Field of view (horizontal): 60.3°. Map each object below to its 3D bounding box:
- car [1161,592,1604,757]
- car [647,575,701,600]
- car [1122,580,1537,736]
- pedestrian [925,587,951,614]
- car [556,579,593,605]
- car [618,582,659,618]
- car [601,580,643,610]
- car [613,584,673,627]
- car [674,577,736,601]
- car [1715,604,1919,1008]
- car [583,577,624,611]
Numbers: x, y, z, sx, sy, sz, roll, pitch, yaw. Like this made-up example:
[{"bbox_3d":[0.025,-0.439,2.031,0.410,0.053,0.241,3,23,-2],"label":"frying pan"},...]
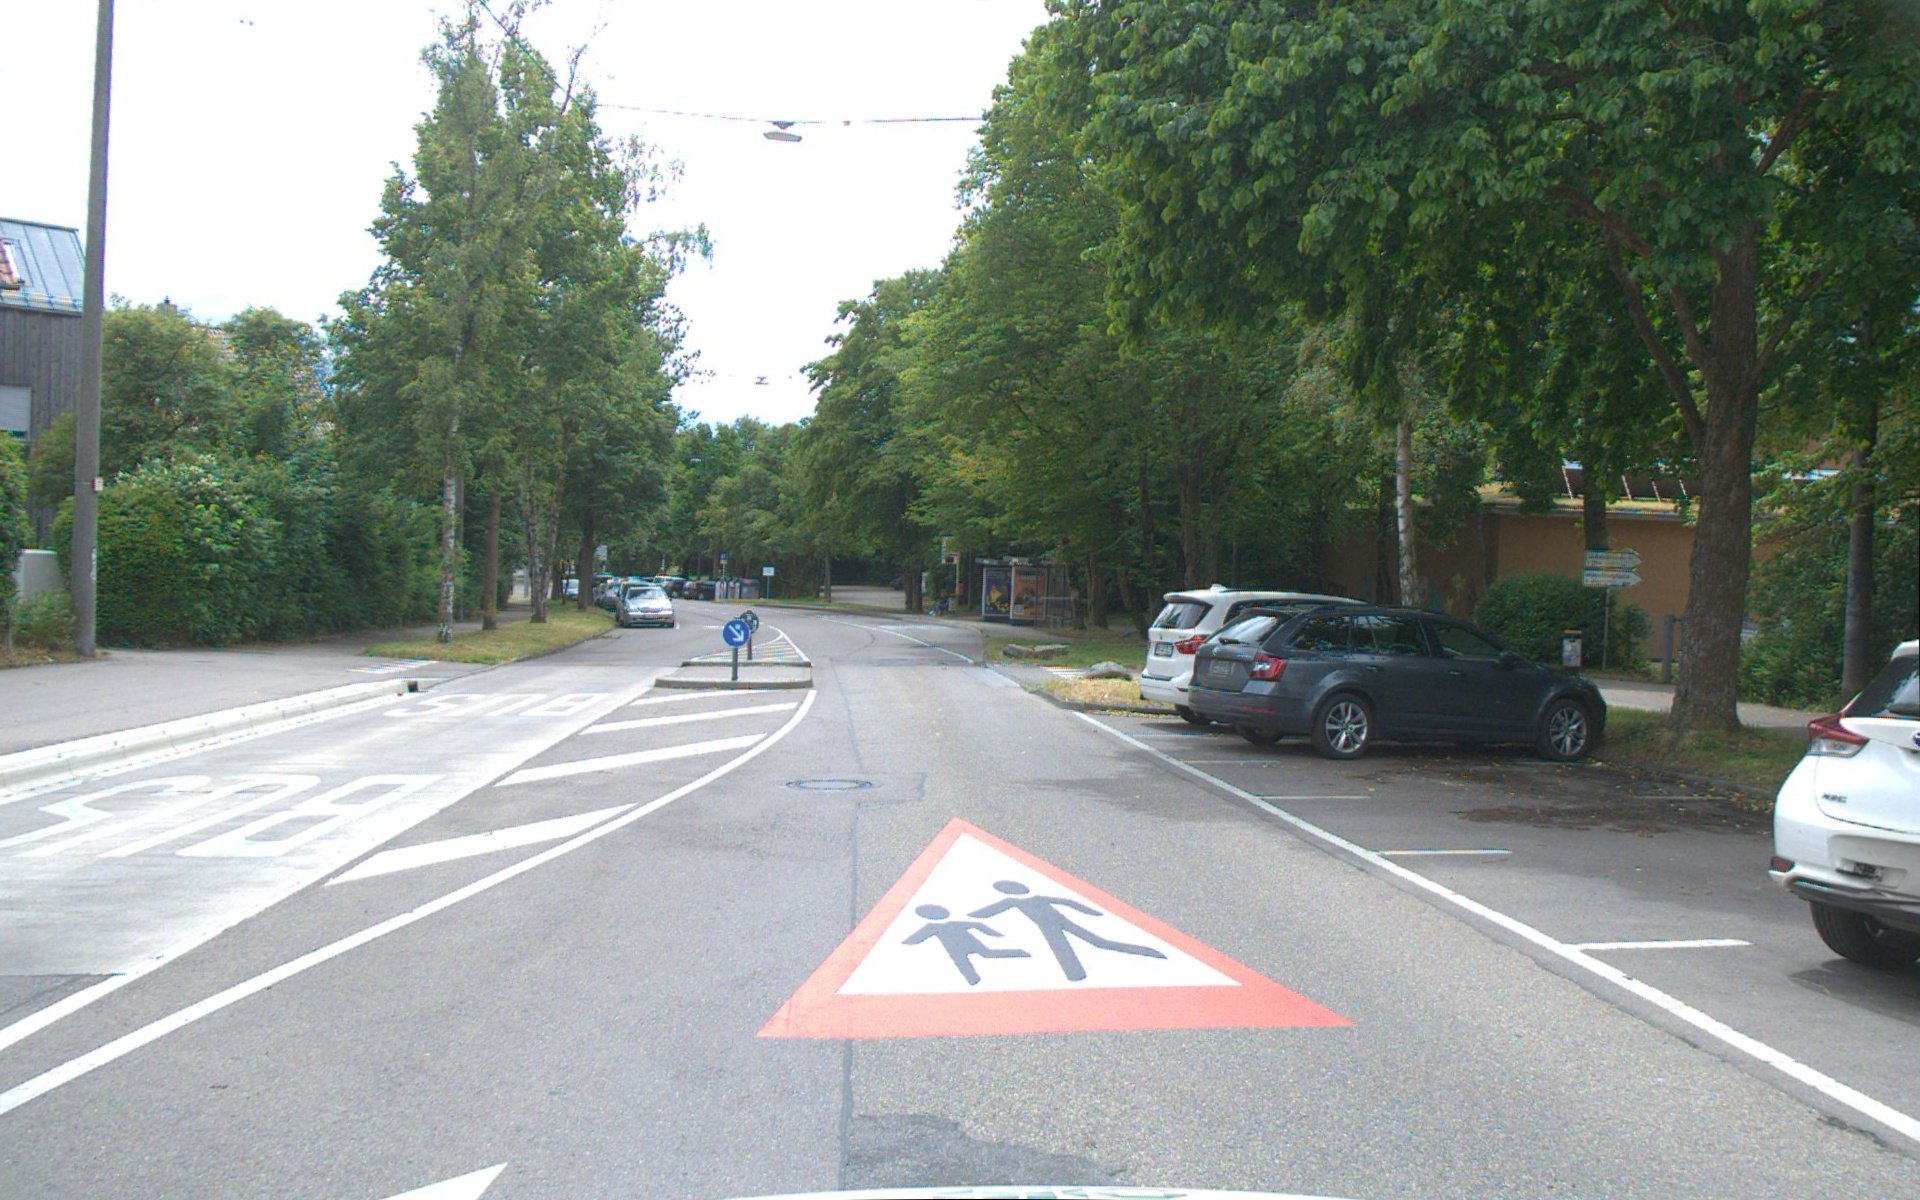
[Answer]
[{"bbox_3d":[4.301,0.752,16.905,4.071,1.489,1.788,2,0,-20],"label":"car"},{"bbox_3d":[-22.547,-1.017,130.577,3.801,1.750,1.848,4,-2,-44],"label":"car"},{"bbox_3d":[4.327,0.673,19.598,4.392,1.613,1.900,2,0,-14],"label":"car"},{"bbox_3d":[-0.978,0.038,74.260,1.046,1.203,0.577,0,0,-16],"label":"pedestrian"},{"bbox_3d":[-26.215,-0.556,112.428,1.780,1.590,4.238,-3,2,-22],"label":"car"},{"bbox_3d":[-14.889,-0.015,76.400,1.706,1.606,4.127,-1,1,-13],"label":"car"},{"bbox_3d":[-17.903,-0.289,87.410,1.836,1.565,4.208,0,1,-16],"label":"car"},{"bbox_3d":[-11.324,0.157,58.891,1.707,1.441,4.452,-1,1,-16],"label":"car"},{"bbox_3d":[-18.570,-0.770,120.432,3.968,1.438,2.025,4,0,-44],"label":"car"},{"bbox_3d":[5.420,0.853,6.885,3.926,1.489,1.856,2,0,-19],"label":"car"},{"bbox_3d":[-20.951,-0.391,97.004,1.829,1.942,5.057,0,1,-18],"label":"car"}]
